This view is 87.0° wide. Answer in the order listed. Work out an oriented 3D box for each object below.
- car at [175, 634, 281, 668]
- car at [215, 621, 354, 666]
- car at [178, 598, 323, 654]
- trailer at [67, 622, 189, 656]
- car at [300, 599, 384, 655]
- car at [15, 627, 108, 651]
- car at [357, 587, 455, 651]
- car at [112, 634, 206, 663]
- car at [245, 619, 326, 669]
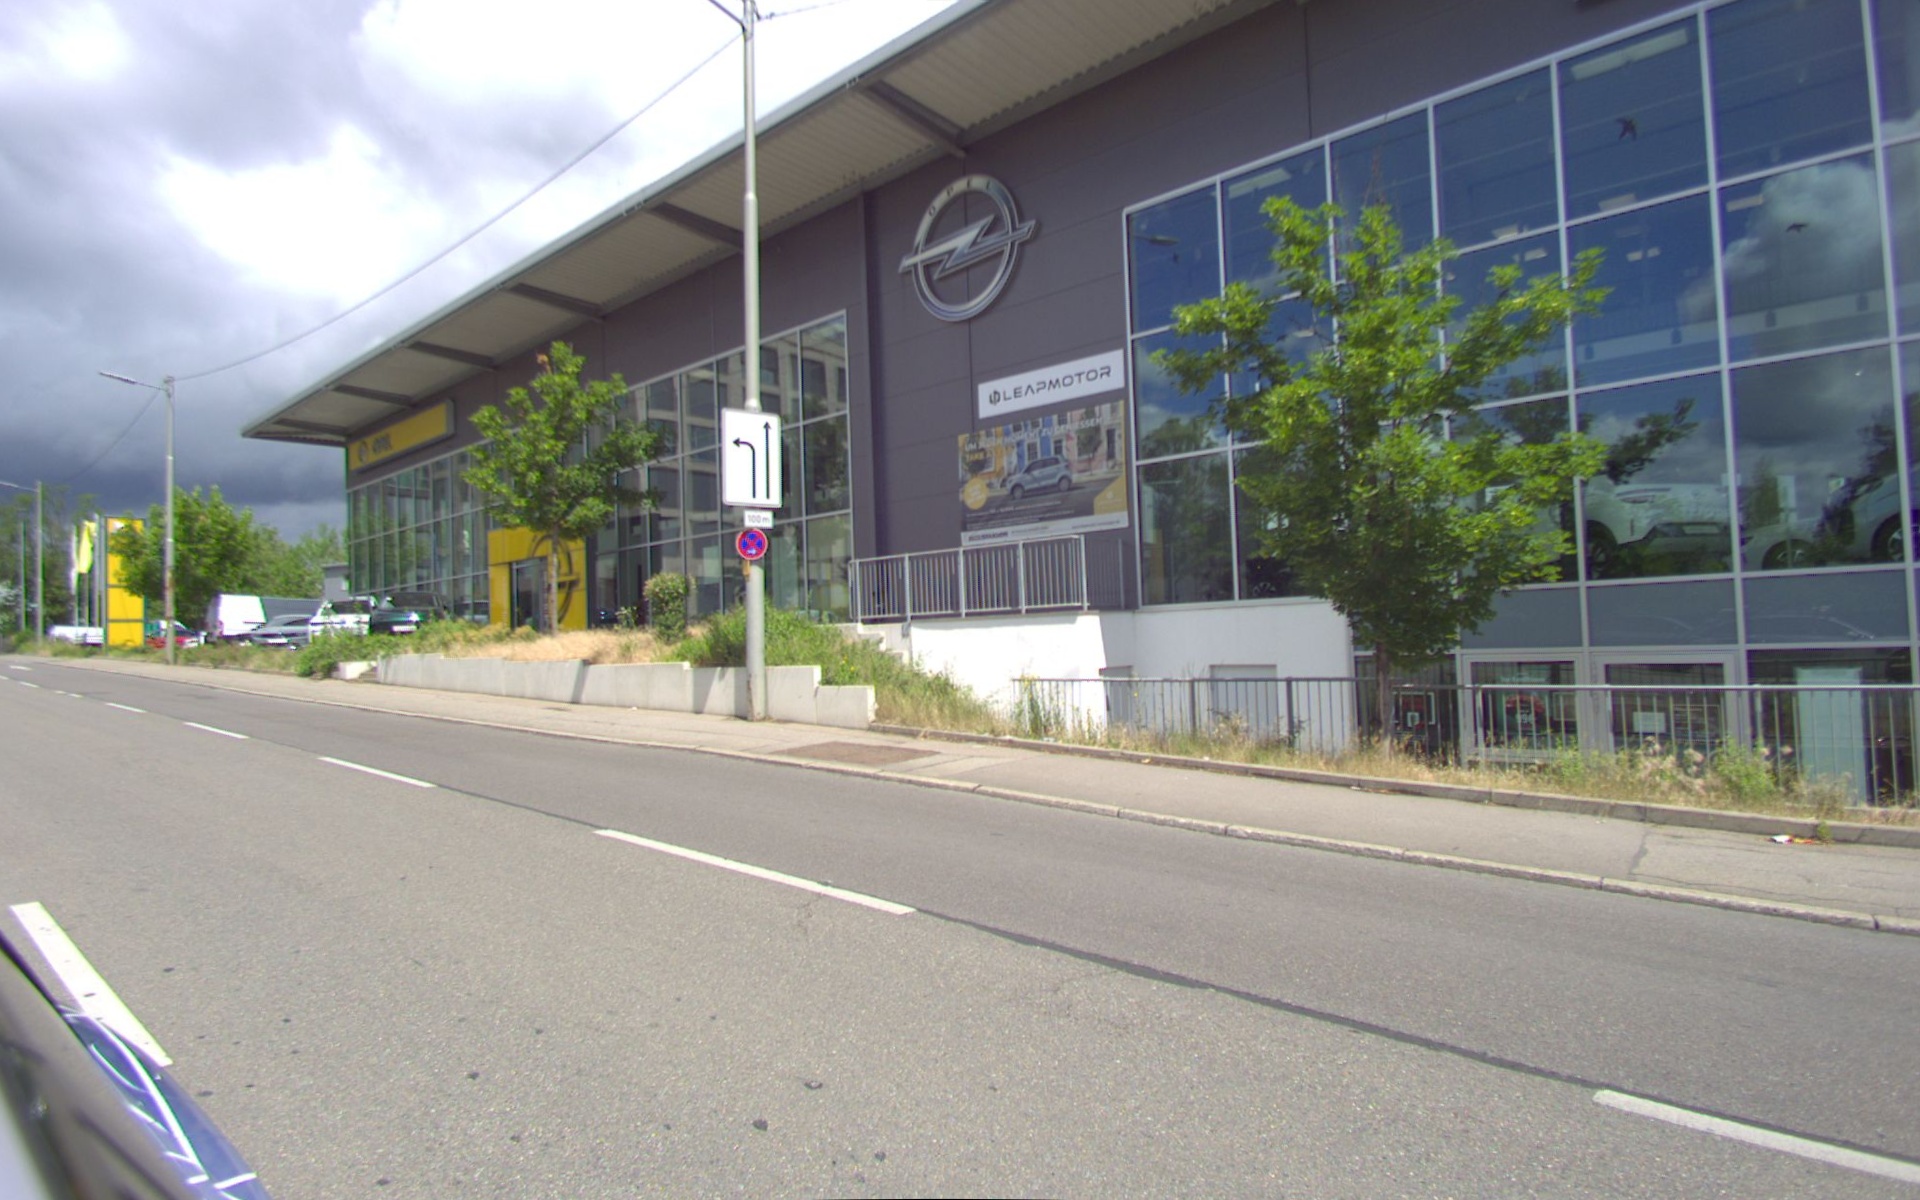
[{"bbox_3d":[-35.529,2.439,49.179,1.559,1.539,3.897,-2,-2,38],"label":"car"},{"bbox_3d":[-25.737,1.634,38.688,1.792,1.625,4.064,-2,-2,32],"label":"car"},{"bbox_3d":[-29.338,1.053,41.964,2.176,2.211,4.476,-1,-1,38],"label":"car"},{"bbox_3d":[-45.327,2.123,55.241,2.092,1.765,4.776,-2,-2,37],"label":"trailer"},{"bbox_3d":[-19.337,0.835,31.807,1.767,1.625,4.122,0,-1,-25],"label":"car"},{"bbox_3d":[-57.636,2.484,64.980,2.093,1.493,4.200,-2,-2,38],"label":"car"},{"bbox_3d":[-15.575,0.557,28.636,1.790,1.625,4.122,-1,-2,-20],"label":"car"},{"bbox_3d":[-42.022,2.519,53.115,1.814,1.420,3.621,-2,-2,42],"label":"car"},{"bbox_3d":[-23.401,1.490,35.234,1.767,1.625,4.122,1,-2,-26],"label":"car"}]
